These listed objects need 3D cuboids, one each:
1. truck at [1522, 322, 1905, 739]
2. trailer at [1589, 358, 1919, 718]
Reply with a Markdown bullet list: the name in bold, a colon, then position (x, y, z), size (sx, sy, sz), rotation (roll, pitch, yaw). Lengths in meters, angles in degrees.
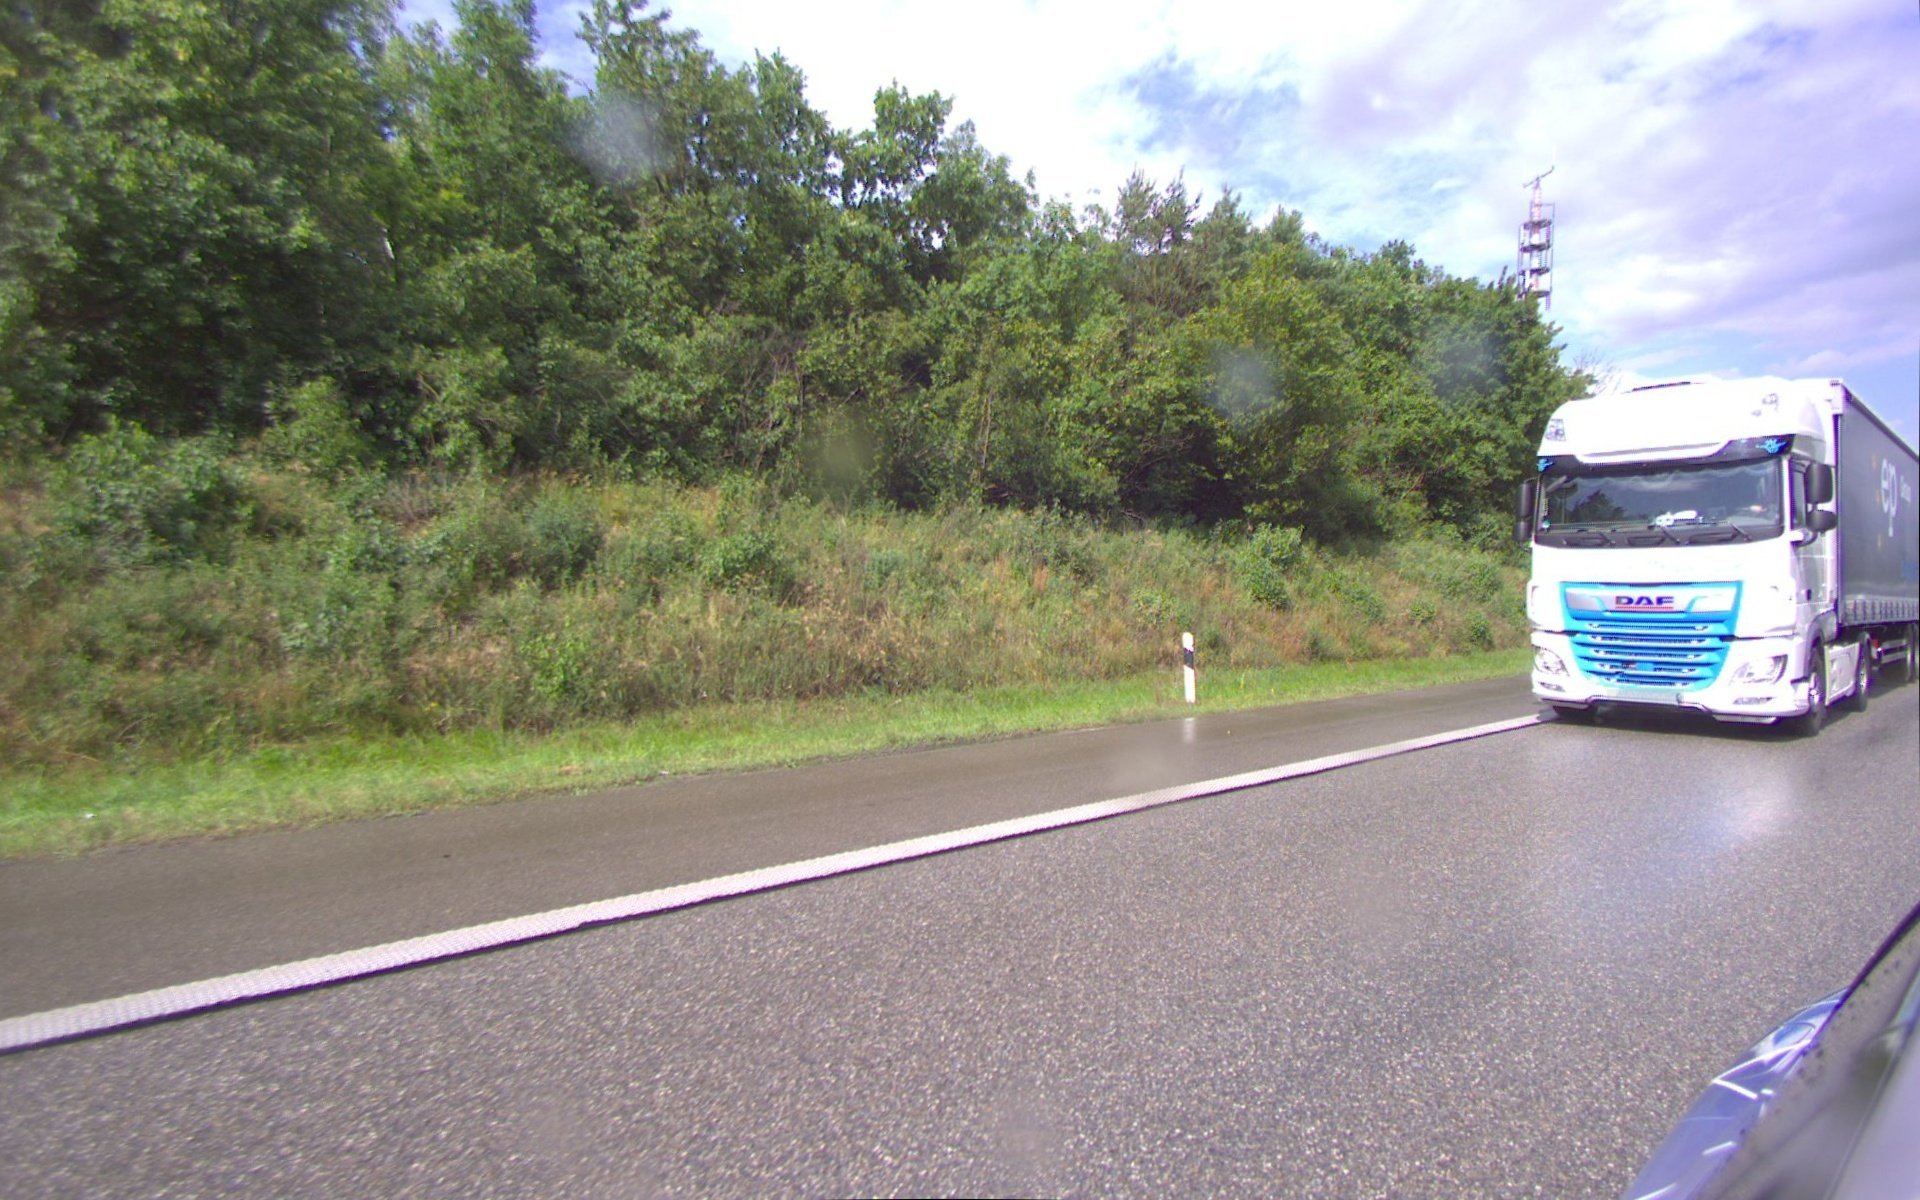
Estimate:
- **truck**: position (10.079, -0.713, 13.180), size (7.164, 4.046, 2.611), rotation (-1, 0, -42)
- **trailer**: position (14.350, -0.763, 16.979), size (13.821, 4.046, 2.638), rotation (-1, 0, -42)
